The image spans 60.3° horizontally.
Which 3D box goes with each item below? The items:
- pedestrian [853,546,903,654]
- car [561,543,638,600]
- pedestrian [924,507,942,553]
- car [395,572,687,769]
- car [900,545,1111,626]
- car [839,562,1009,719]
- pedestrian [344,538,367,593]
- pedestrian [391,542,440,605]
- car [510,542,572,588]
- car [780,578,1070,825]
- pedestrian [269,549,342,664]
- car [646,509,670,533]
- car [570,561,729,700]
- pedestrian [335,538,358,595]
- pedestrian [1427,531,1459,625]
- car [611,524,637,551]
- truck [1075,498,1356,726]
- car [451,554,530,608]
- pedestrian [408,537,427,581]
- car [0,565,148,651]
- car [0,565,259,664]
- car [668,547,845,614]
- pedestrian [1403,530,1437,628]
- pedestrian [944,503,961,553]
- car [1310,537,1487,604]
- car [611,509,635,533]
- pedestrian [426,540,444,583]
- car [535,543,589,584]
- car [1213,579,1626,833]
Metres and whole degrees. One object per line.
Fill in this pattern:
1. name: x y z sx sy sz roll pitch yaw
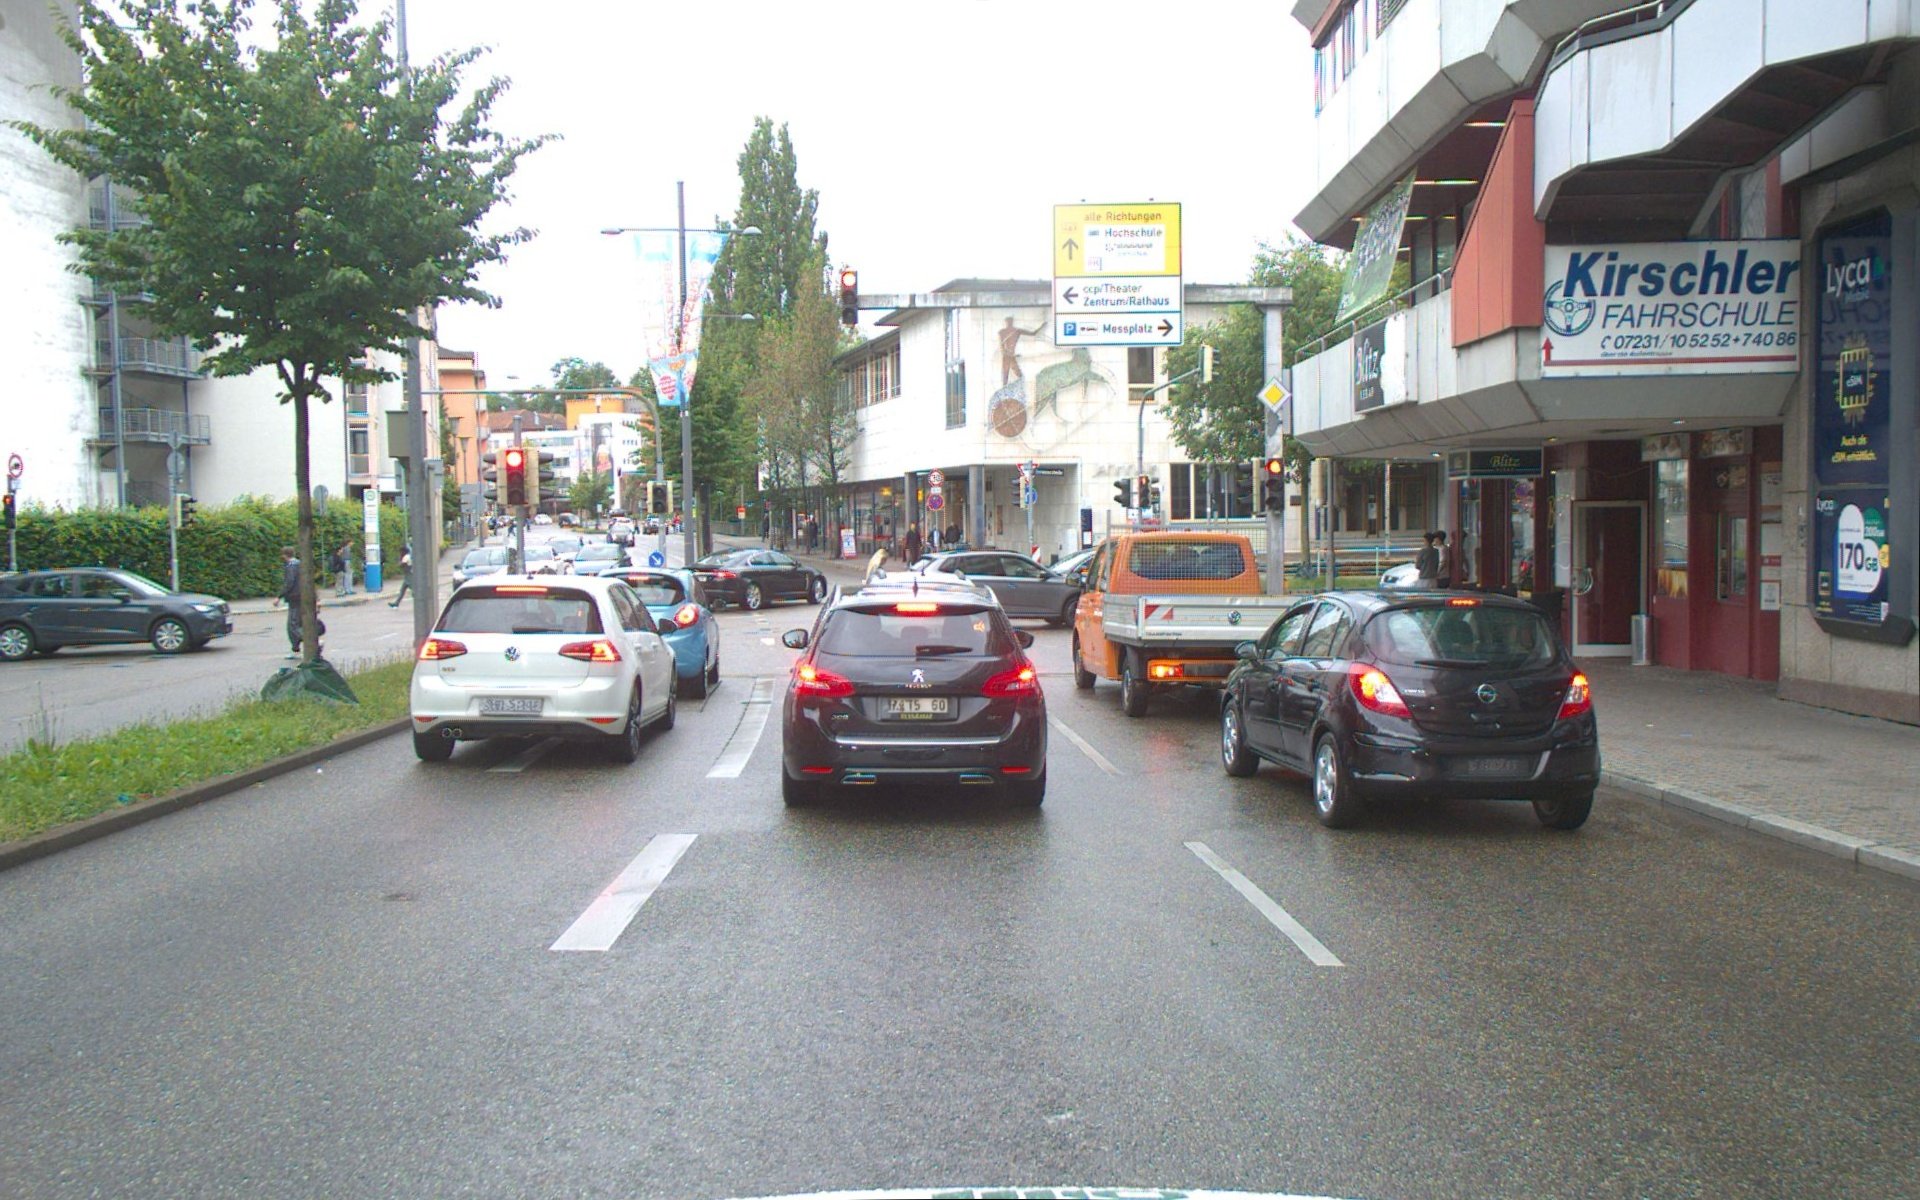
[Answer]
1. pedestrian: -1.325 0.011 26.688 0.733 1.710 0.709 1 -1 1
2. car: -10.974 -0.842 50.577 1.710 1.607 3.996 1 -1 -4
3. pedestrian: -1.067 -2.768 65.852 0.623 1.788 0.734 1 -1 5
4. car: -3.451 0.501 14.323 1.742 1.454 3.840 1 1 -3
5. car: 0.873 -0.264 32.834 3.917 1.512 1.618 1 -1 -13
6. car: -0.398 0.358 18.261 1.662 1.512 3.793 1 2 -1
7. pedestrian: -19.774 -1.117 54.101 0.528 1.778 0.564 1 -1 -6
8. pedestrian: -14.161 -0.672 43.042 1.041 1.606 0.683 1 -1 -6
9. car: -14.382 -1.212 56.939 1.602 1.512 3.604 1 2 -7
10. car: -0.304 0.594 11.947 1.742 1.454 3.840 1 1 -3
11. pedestrian: -10.552 0.113 26.708 0.905 1.815 0.708 1 -1 -7
12. car: -27.255 -7.113 149.182 1.679 1.970 3.979 1 -1 -18
13. car: -3.724 0.302 20.297 1.601 1.512 3.605 1 2 -6
14. pedestrian: -19.498 -1.052 52.589 0.529 1.778 0.746 1 -1 -9
15. pedestrian: 8.682 -0.386 29.743 0.388 1.668 0.504 -1 -1 0
16. car: -23.127 -4.296 113.823 1.713 1.669 3.989 1 -1 -11
17. truck: 2.687 0.050 18.753 2.134 2.210 5.018 1 2 -3
18. car: -14.034 -0.602 49.575 1.543 1.512 3.607 1 2 -4
19. pedestrian: -22.211 -1.671 67.740 0.584 1.758 0.655 1 -1 -9
20. car: -18.512 0.185 32.277 4.415 1.479 1.787 -3 3 -14
21. car: -15.177 0.238 29.711 4.415 1.479 1.787 -3 3 -14
22. car: -4.969 -0.444 40.994 1.695 1.516 4.718 0 -1 34
23. pedestrian: 8.189 -0.366 29.439 0.417 1.712 0.450 -1 -1 -2
24. pedestrian: -0.299 -2.884 66.346 0.623 1.930 0.734 1 -1 5
25. car: 10.505 -0.683 39.704 3.828 1.512 1.618 1 -1 -14
26. car: -30.234 -7.068 148.349 1.679 1.915 3.979 1 -1 -18
27. pedestrian: -21.688 -1.576 68.283 0.584 1.758 0.655 1 -1 -9
28. car: -15.295 -1.411 63.752 1.602 1.512 3.604 1 2 -7
29. car: 2.999 0.606 11.635 1.584 1.454 3.839 1 1 -4
